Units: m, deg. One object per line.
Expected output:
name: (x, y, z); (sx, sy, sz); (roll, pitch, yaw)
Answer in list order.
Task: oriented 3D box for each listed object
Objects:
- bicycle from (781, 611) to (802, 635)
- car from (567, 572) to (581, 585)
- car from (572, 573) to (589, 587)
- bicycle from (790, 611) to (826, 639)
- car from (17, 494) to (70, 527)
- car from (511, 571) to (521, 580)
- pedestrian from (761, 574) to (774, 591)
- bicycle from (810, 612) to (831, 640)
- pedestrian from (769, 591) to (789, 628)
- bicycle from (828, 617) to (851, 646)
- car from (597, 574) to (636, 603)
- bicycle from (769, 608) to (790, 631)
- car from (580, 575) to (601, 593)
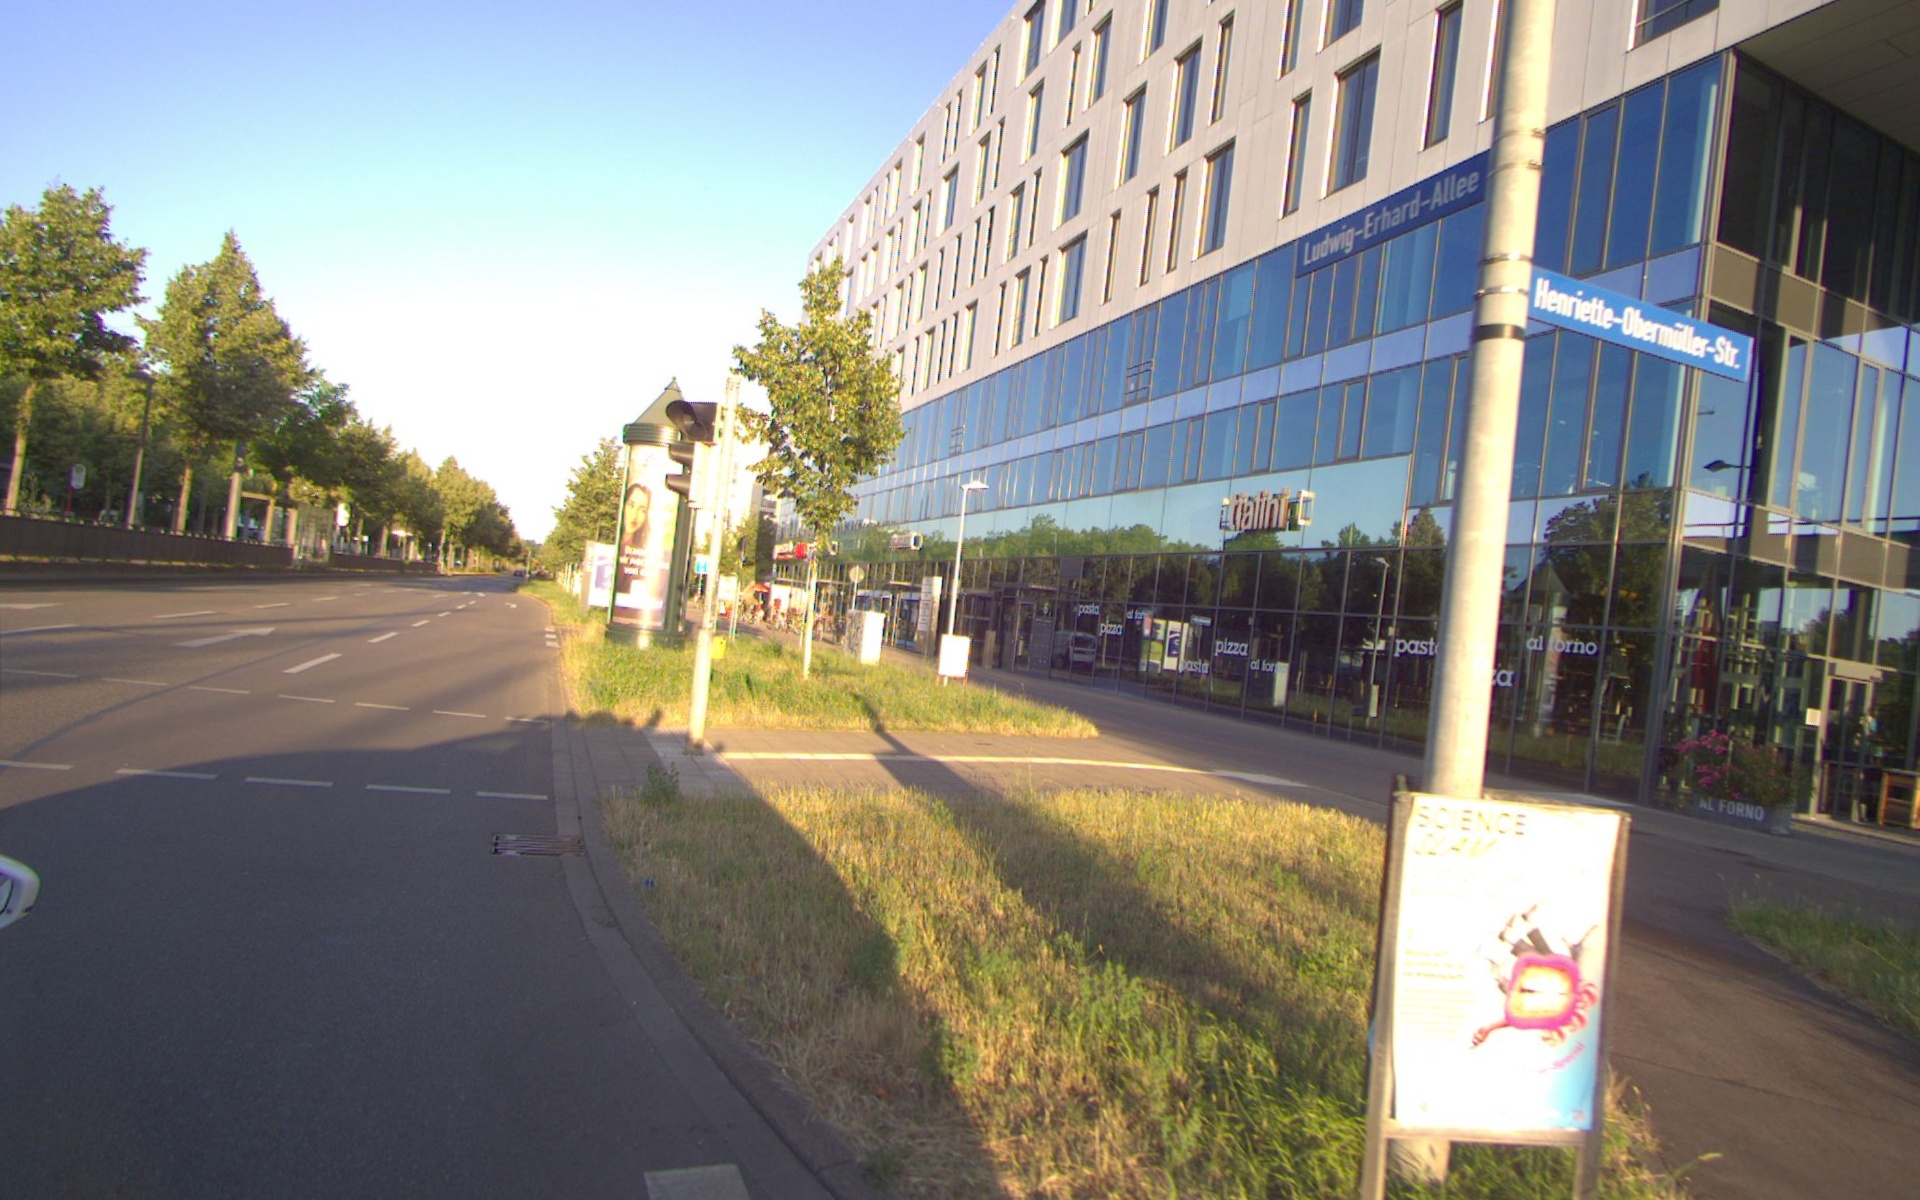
bicycle: (-8.394, 1.134, 50.043); (0.627, 1.080, 2.114); (7, -1, -18)
car: (-69.415, -3.935, 180.709); (1.974, 2.038, 3.979); (7, -1, -23)
car: (-53.913, -2.882, 142.832); (1.756, 1.655, 3.538); (7, -1, -27)
bicycle: (-7.143, 1.174, 47.262); (0.631, 1.080, 2.101); (7, -1, -37)
car: (-75.814, -7.367, 83.259); (1.757, 2.210, 3.981); (7, -1, -22)
car: (-95.224, -5.274, 215.844); (1.678, 1.615, 3.979); (6, -1, -23)
pedestrian: (-17.898, -1.658, 93.509); (0.799, 1.473, 1.113); (6, 0, 3)
bicycle: (-6.175, 1.130, 44.499); (0.626, 1.080, 2.117); (7, -1, -13)
pedestrian: (-10.851, 0.537, 60.355); (0.803, 2.115, 1.108); (6, 0, -20)
bicycle: (-5.020, 1.301, 41.687); (0.535, 1.080, 1.999); (7, -1, -16)
car: (-24.842, -0.881, 72.670); (1.976, 1.716, 4.567); (9, -2, -25)
bicycle: (-9.412, 1.014, 52.401); (0.627, 1.080, 2.113); (7, -1, -20)
car: (-42.166, -1.821, 114.853); (2.008, 1.716, 4.379); (9, -2, -19)
